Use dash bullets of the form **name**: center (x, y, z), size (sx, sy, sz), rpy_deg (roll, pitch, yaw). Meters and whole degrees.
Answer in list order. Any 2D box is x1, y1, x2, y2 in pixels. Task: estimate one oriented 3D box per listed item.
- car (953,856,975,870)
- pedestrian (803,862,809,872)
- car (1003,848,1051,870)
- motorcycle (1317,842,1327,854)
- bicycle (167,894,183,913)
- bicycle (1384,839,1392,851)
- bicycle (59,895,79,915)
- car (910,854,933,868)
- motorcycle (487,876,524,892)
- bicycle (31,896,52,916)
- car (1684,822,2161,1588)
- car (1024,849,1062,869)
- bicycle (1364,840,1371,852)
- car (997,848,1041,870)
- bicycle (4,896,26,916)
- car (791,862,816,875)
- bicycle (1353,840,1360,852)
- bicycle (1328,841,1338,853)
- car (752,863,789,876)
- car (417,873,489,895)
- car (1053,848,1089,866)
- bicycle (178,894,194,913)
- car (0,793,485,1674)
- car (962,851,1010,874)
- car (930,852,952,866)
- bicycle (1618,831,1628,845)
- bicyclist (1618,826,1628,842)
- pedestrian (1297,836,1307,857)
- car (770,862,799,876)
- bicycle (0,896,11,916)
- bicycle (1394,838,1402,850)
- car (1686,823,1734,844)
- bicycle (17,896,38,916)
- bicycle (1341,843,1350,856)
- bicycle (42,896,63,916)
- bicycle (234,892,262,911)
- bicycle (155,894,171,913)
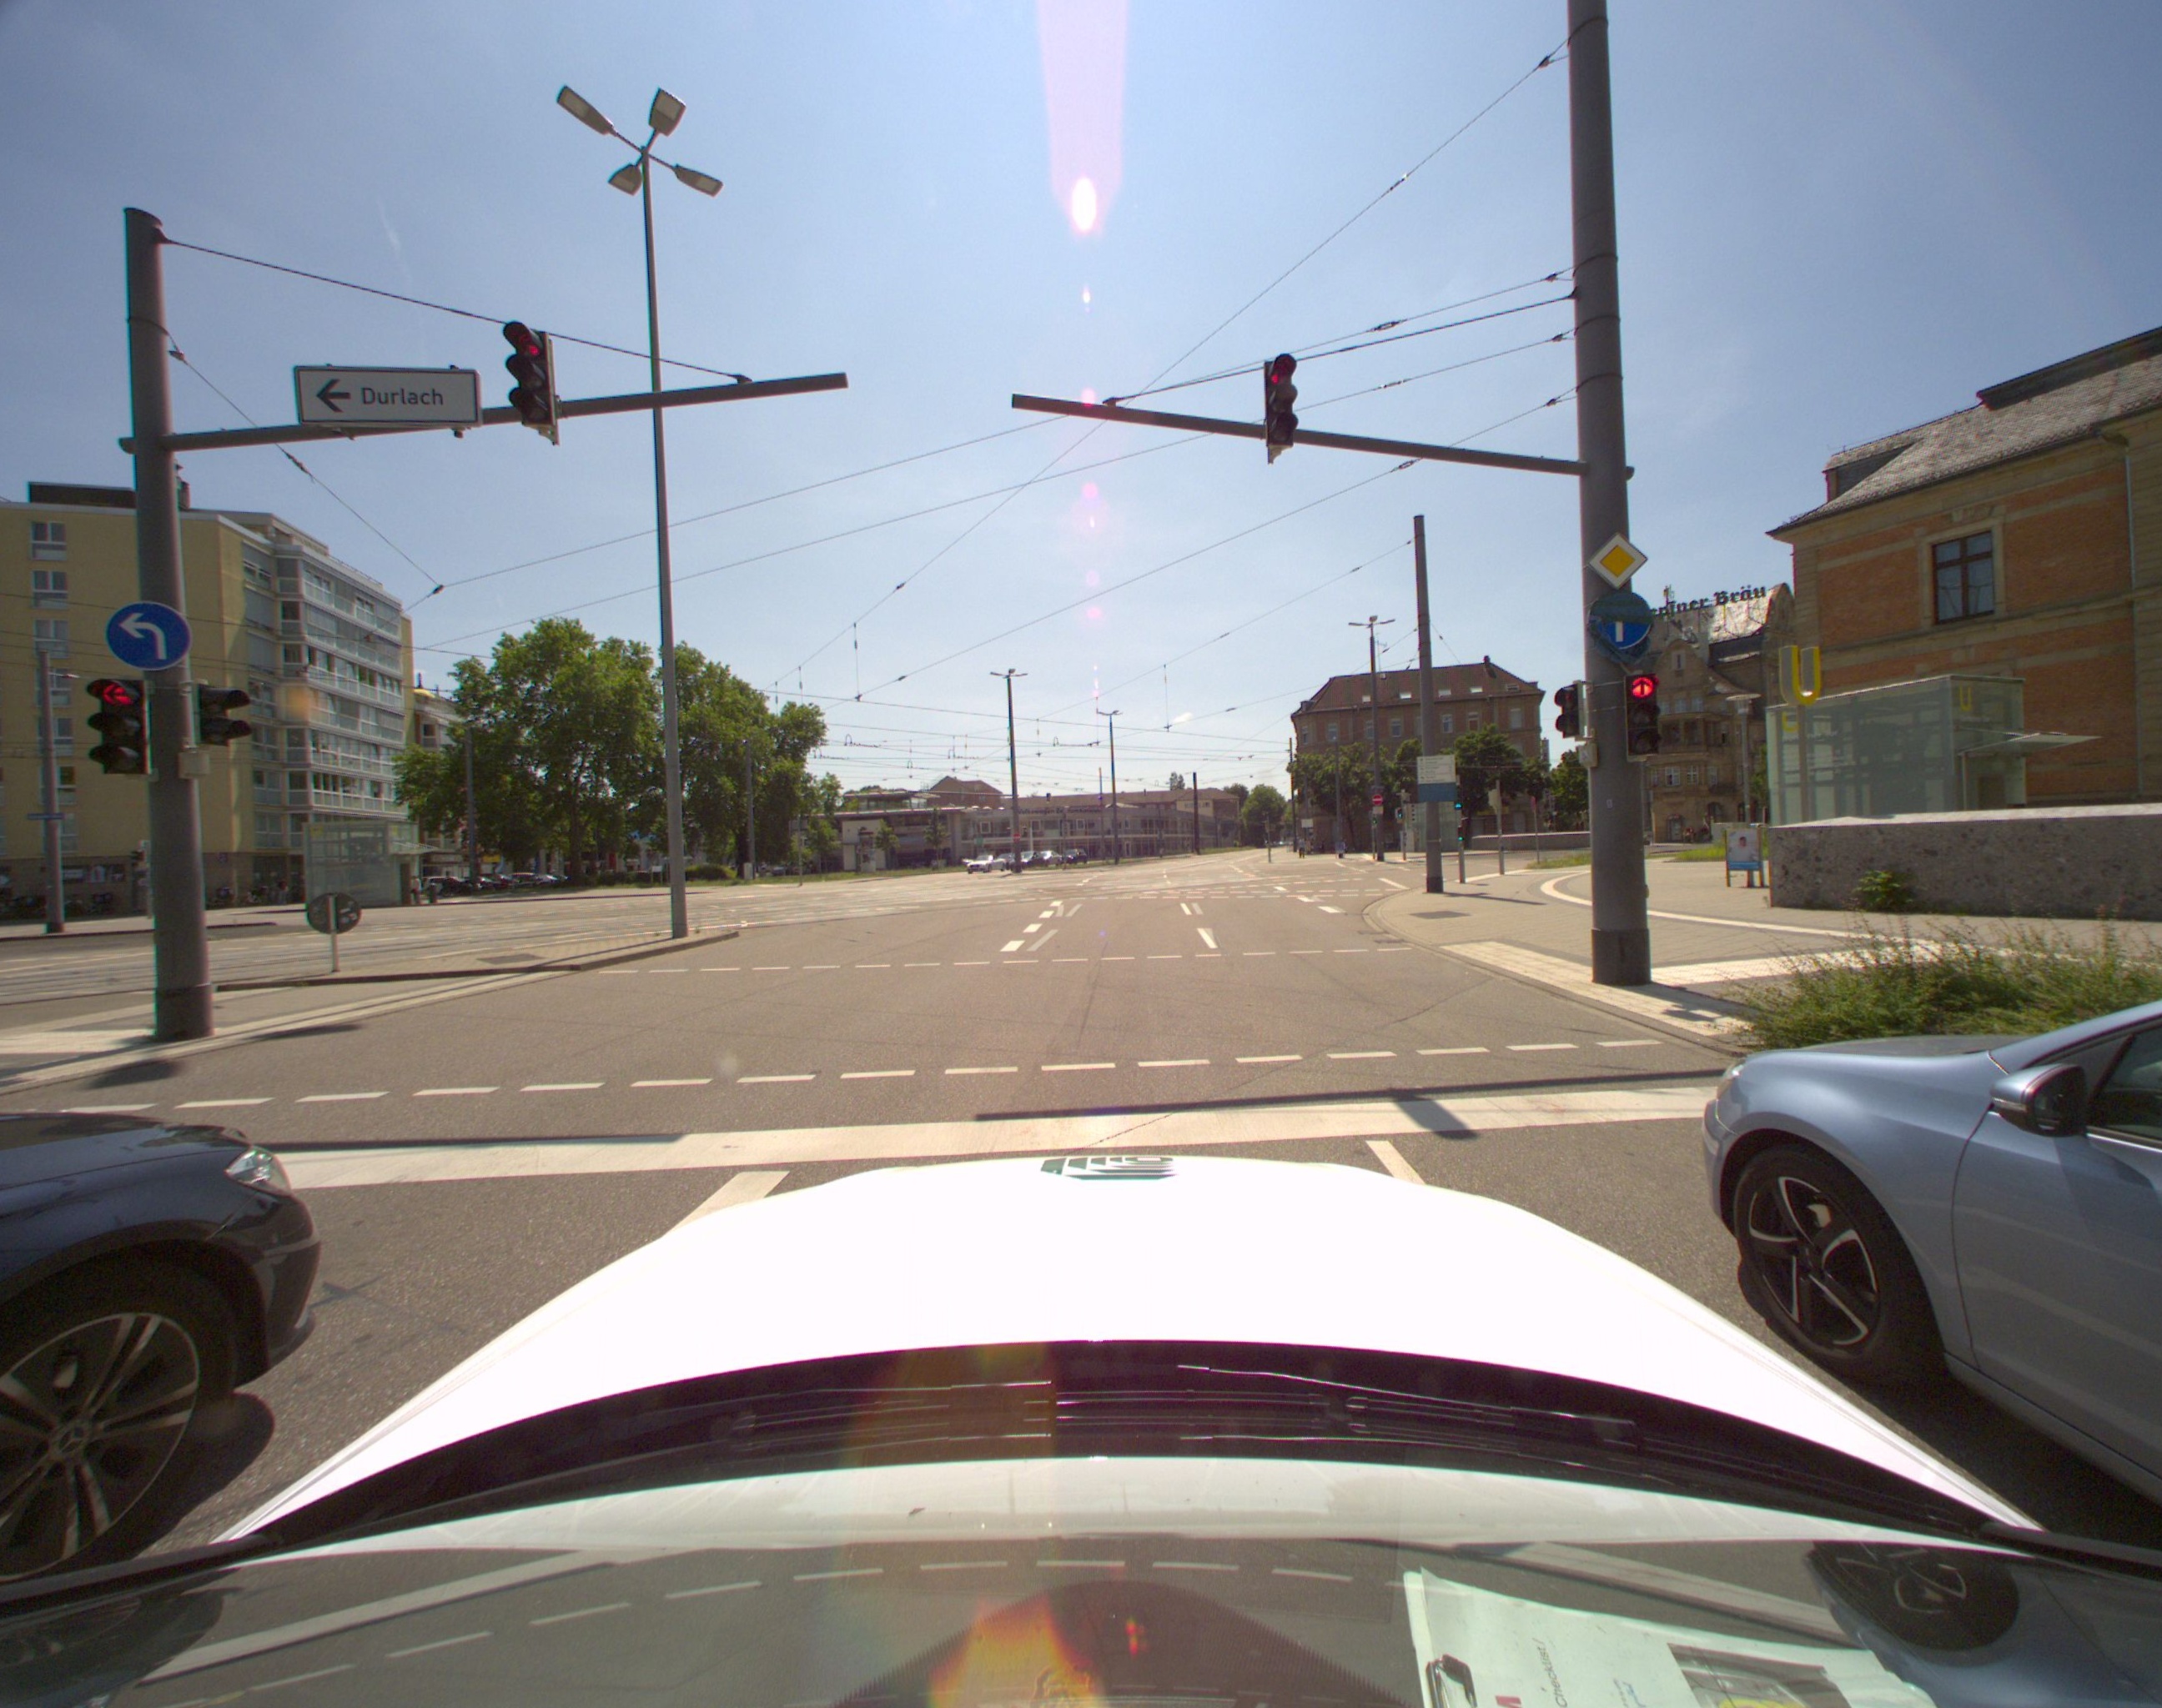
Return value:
- **car**: center (-14.414, 1.071, 100.699), size (1.913, 1.707, 4.002), rpy_deg (0, -1, 2)
- **pedestrian**: center (-33.243, 1.571, 98.480), size (0.510, 1.204, 0.446), rpy_deg (-2, 0, 7)
- **car**: center (-4.238, 0.370, 64.769), size (1.977, 1.637, 4.870), rpy_deg (-2, 0, 19)
- **motorcycle**: center (23.309, -0.603, 78.796), size (0.577, 1.074, 1.949), rpy_deg (-2, 0, 6)
- **bicycle**: center (-51.230, 2.797, 46.046), size (0.435, 1.026, 1.426), rpy_deg (-2, 0, -42)
- **bicycle**: center (29.469, -0.890, 78.147), size (0.546, 1.120, 1.879), rpy_deg (-2, 0, 18)
- **bicycle**: center (-55.916, 2.821, 44.998), size (0.435, 1.026, 1.426), rpy_deg (-2, 0, -42)
- **car**: center (-19.728, 0.848, 100.717), size (1.913, 1.707, 4.002), rpy_deg (0, -1, 2)
- **motorcycle**: center (-39.016, 2.012, 55.230), size (1.925, 0.961, 0.521), rpy_deg (-2, 0, -29)
- **bicycle**: center (-56.920, 2.825, 44.603), size (0.435, 1.026, 1.426), rpy_deg (-2, 0, -42)
- **car**: center (2.847, 0.661, 0.794), size (1.645, 1.459, 4.005), rpy_deg (-1, 0, 2)
- **car**: center (-3.516, 0.454, 76.531), size (1.977, 1.739, 4.565), rpy_deg (-2, 0, 19)
- **bicycle**: center (27.425, -0.792, 77.997), size (0.546, 1.120, 1.829), rpy_deg (-2, 0, 18)
- **car**: center (-5.327, 0.435, 70.627), size (1.977, 1.700, 4.870), rpy_deg (-2, 0, 19)
- **bicycle**: center (-57.864, 2.828, 44.209), size (0.435, 1.026, 1.426), rpy_deg (-2, 0, -42)
- **car**: center (-34.799, 1.828, 102.215), size (1.763, 1.510, 4.322), rpy_deg (-2, 0, -3)
- **bicycle**: center (26.455, -0.762, 78.300), size (0.546, 1.120, 1.829), rpy_deg (-2, 0, 18)
- **bicycle**: center (24.331, -0.669, 78.648), size (0.548, 1.120, 1.824), rpy_deg (-2, 0, 8)
- **car**: center (-41.287, 2.022, 108.272), size (4.343, 1.510, 1.754), rpy_deg (-2, 0, -33)
- **car**: center (-48.955, 2.333, 63.564), size (4.004, 1.420, 1.985), rpy_deg (-2, 0, -23)
- **car**: center (-0.949, 0.315, 83.332), size (2.061, 1.682, 4.870), rpy_deg (-2, 0, 19)
- **bicycle**: center (-50.807, 2.795, 46.234), size (0.435, 1.026, 1.426), rpy_deg (-2, 0, -42)
- **car**: center (-2.973, 0.724, 0.298), size (1.790, 1.640, 4.808), rpy_deg (-1, 0, 3)
- **car**: center (-7.480, 0.664, 64.534), size (2.061, 1.580, 4.866), rpy_deg (-2, 0, 15)
- **car**: center (-17.310, 0.633, 100.680), size (1.913, 1.707, 4.002), rpy_deg (0, -1, 2)
- **bicycle**: center (57.378, -1.701, 86.258), size (0.730, 1.398, 2.025), rpy_deg (-1, -1, 30)
- **bicyclist**: center (57.319, -2.122, 86.137), size (0.730, 1.610, 1.084), rpy_deg (-1, -1, 30)
- **pedestrian**: center (18.193, -0.597, 67.005), size (0.463, 1.708, 0.634), rpy_deg (-2, 0, -29)
- **car**: center (-37.343, 1.892, 102.723), size (1.760, 1.510, 4.330), rpy_deg (-2, 0, 3)
- **bicycle**: center (-58.463, 2.831, 44.058), size (0.435, 1.026, 1.426), rpy_deg (-2, 0, -42)
- **bicycle**: center (30.475, -0.938, 78.316), size (0.546, 1.120, 1.938), rpy_deg (-2, 0, 18)
- **car**: center (54.555, -1.771, 70.610), size (3.656, 1.605, 1.682), rpy_deg (-3, 0, -22)
- **bicycle**: center (-57.409, 2.826, 44.368), size (0.435, 1.026, 1.426), rpy_deg (-2, 0, -42)
- **bicycle**: center (25.553, -0.425, 78.623), size (0.440, 1.146, 2.099), rpy_deg (-1, -1, 9)
- **bicycle**: center (-56.414, 2.822, 44.677), size (0.435, 1.026, 1.426), rpy_deg (-2, 0, -42)
- **bicycle**: center (-49.279, 2.803, 48.208), size (0.432, 1.026, 1.437), rpy_deg (-2, 0, -14)
- **bicycle**: center (-51.694, 2.798, 45.877), size (0.435, 1.026, 1.426), rpy_deg (-2, 0, -42)
